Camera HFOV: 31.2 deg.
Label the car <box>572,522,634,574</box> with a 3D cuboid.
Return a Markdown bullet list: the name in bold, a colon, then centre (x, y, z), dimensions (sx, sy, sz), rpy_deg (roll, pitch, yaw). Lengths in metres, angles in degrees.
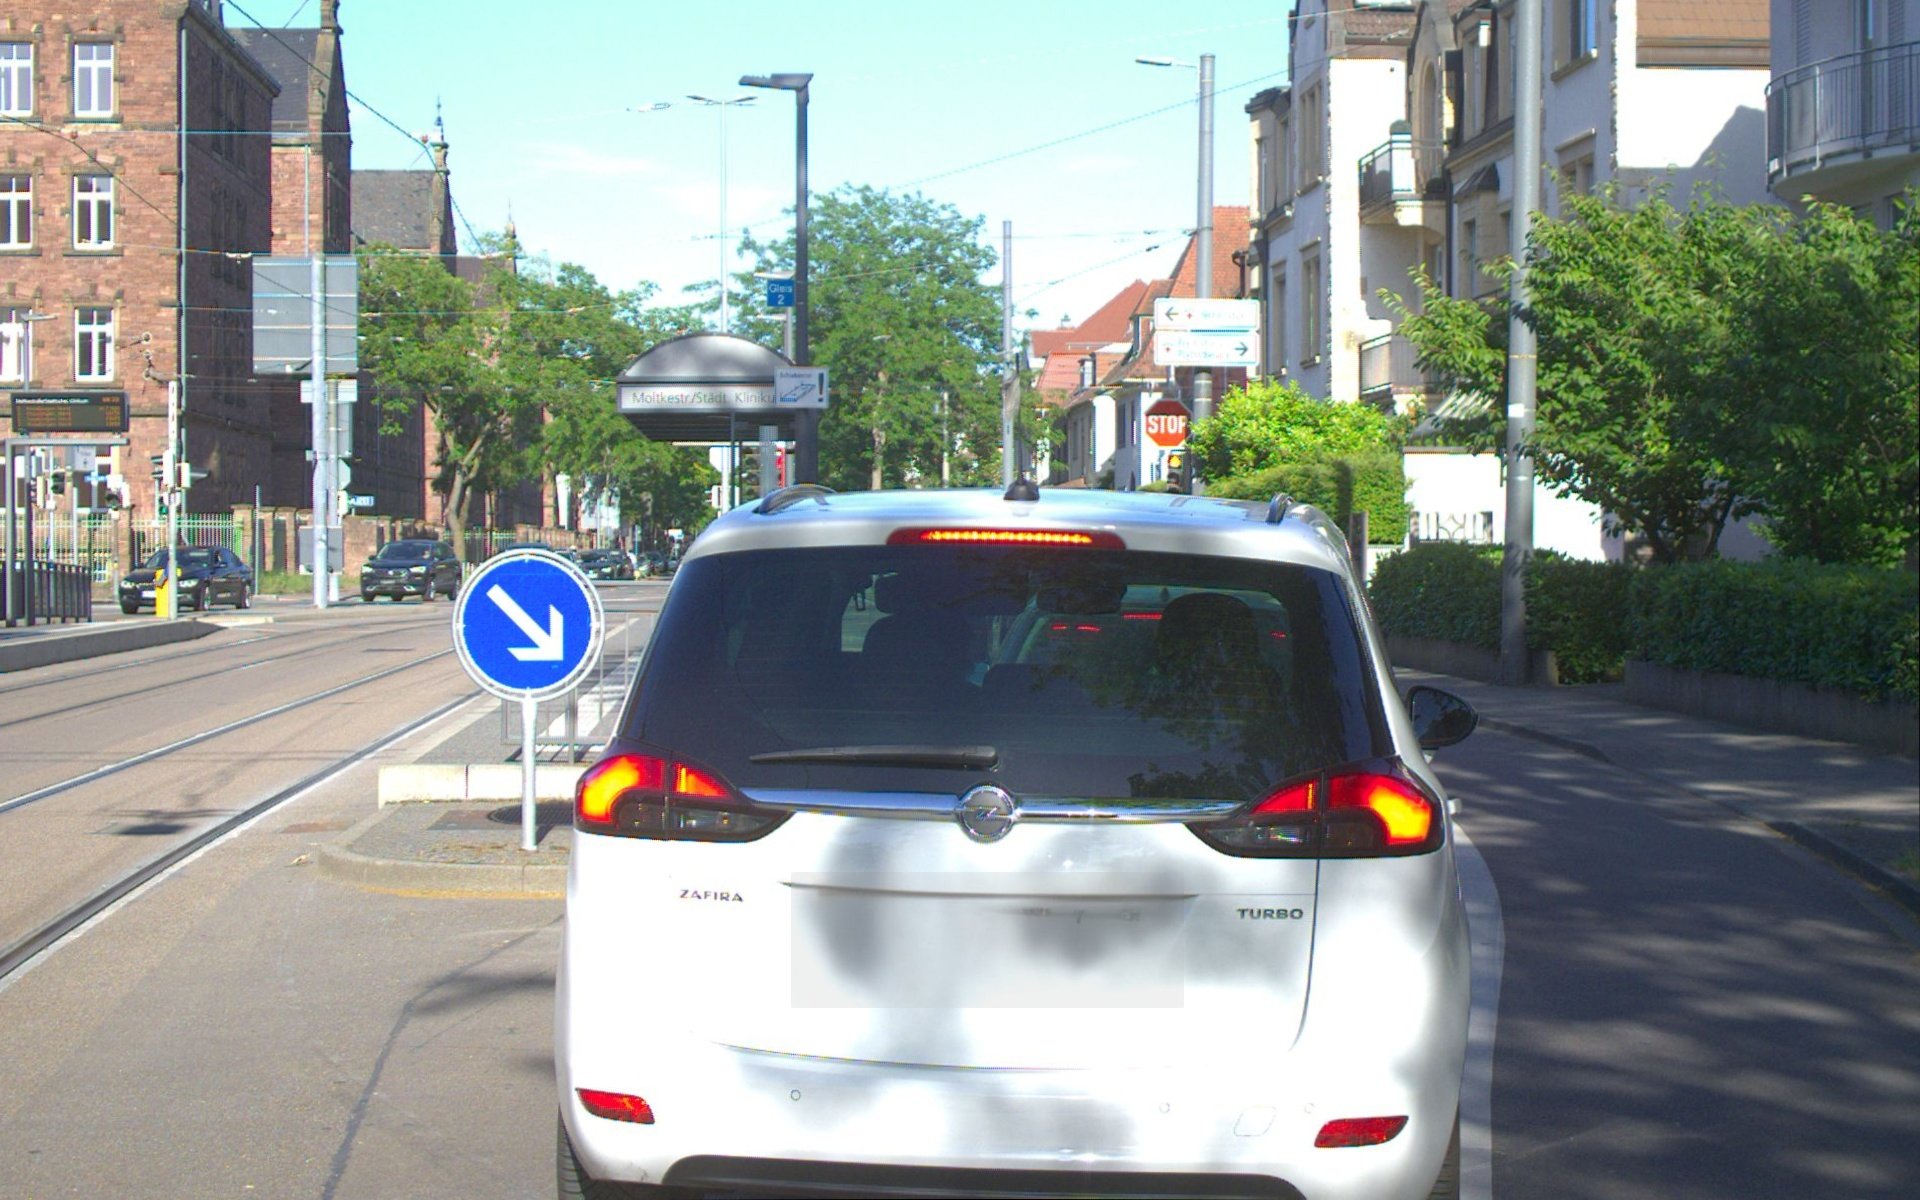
- **car**: centre (-14.121, -2.061, 136.093), dimensions (1.993, 2.007, 4.000), rpy_deg (0, 1, 1)

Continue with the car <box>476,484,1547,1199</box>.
- **car**: centre (0.249, 0.562, 8.081), dimensions (1.878, 1.579, 3.999), rpy_deg (1, 1, 5)

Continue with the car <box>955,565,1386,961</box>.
- **car**: centre (0.950, 0.590, 14.778), dimensions (1.569, 1.396, 3.783), rpy_deg (2, 1, 5)

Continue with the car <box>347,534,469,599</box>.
- **car**: centre (-14.178, -0.838, 88.455), dimensions (1.827, 1.611, 4.326), rpy_deg (1, 0, 9)

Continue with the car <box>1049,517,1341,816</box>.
- **car**: centre (1.469, 0.331, 21.027), dimensions (1.569, 1.609, 3.783), rpy_deg (2, 1, 5)

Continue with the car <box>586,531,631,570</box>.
- **car**: centre (-14.843, -2.090, 145.185), dimensions (1.662, 1.645, 4.001), rpy_deg (0, 1, -3)

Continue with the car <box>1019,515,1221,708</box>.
- **car**: centre (1.432, 0.067, 32.079), dimensions (1.596, 1.629, 3.901), rpy_deg (2, 1, -1)

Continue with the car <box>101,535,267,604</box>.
- **car**: centre (-16.365, -0.662, 72.750), dimensions (1.799, 1.377, 4.493), rpy_deg (0, 1, 10)

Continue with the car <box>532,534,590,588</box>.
- **car**: centre (-13.416, -1.291, 115.725), dimensions (1.826, 1.782, 4.328), rpy_deg (1, 0, -5)

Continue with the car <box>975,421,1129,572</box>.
- **car**: centre (1.035, -1.235, 40.283), dimensions (1.596, 1.629, 3.902), rpy_deg (2, 2, -1)

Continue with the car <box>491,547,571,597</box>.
- **car**: centre (-12.681, -0.828, 101.889), dimensions (1.827, 1.441, 4.327), rpy_deg (1, 0, 0)
